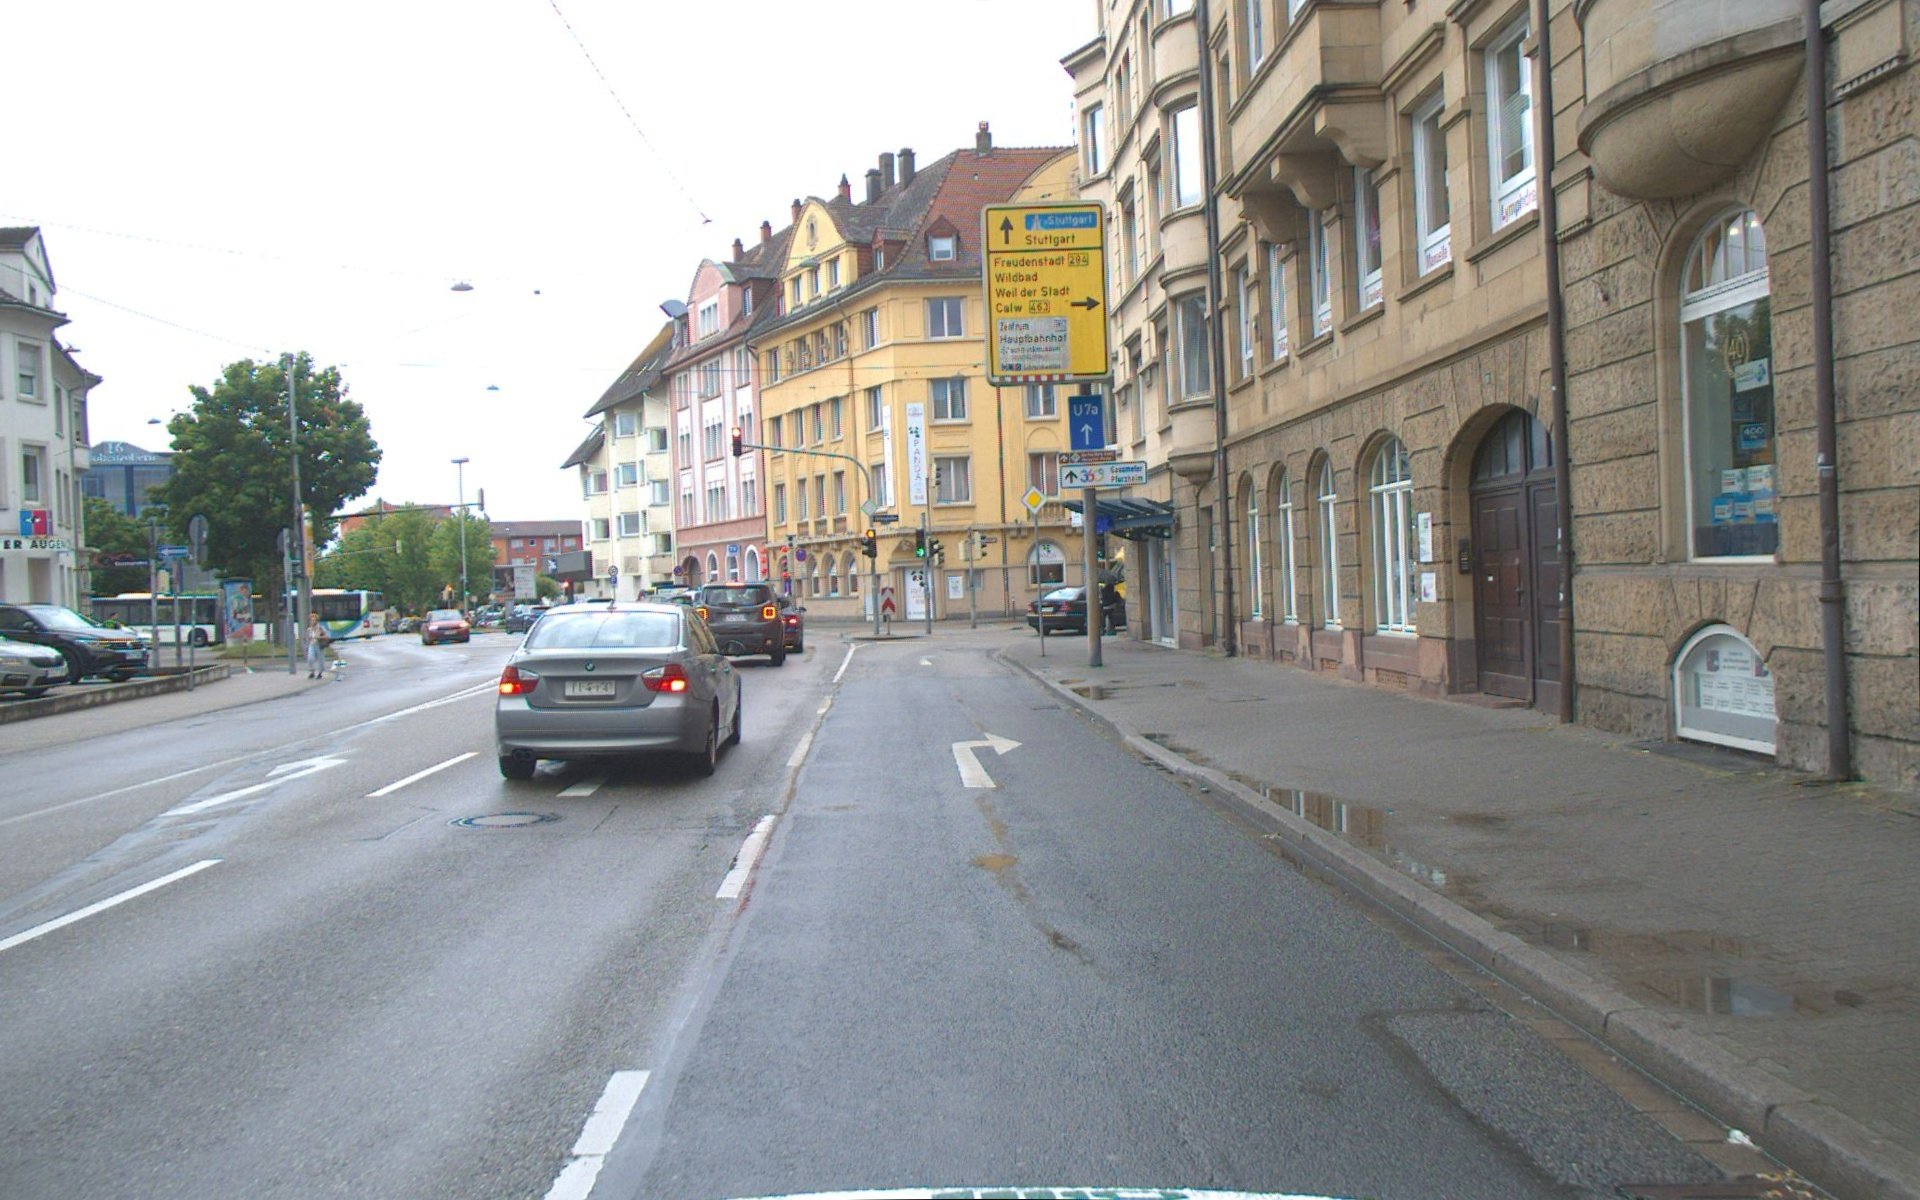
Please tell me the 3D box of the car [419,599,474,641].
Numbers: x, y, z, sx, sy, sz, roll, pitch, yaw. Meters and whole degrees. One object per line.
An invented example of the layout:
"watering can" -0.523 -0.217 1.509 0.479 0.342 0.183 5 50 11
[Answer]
"car" -22.192 0.833 71.376 1.820 1.713 3.970 -1 0 -24

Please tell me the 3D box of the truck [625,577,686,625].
"truck" -16.071 0.022 87.110 2.003 2.431 4.198 -1 1 -28

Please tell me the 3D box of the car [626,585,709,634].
"car" -11.980 0.390 67.615 1.974 1.847 3.957 -3 0 -31

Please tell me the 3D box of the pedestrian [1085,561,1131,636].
"pedestrian" 3.970 -0.052 44.288 1.035 1.937 1.026 -2 1 14

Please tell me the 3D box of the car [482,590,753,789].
"car" -2.848 0.670 14.643 1.764 1.489 4.367 0 0 -4

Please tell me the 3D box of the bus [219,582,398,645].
"bus" -36.840 0.722 93.723 8.922 3.159 2.920 -2 1 3

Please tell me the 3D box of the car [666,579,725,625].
"car" -13.178 0.080 82.186 1.742 2.218 3.963 0 0 -28

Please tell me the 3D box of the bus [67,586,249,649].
"bus" -45.353 0.961 93.709 8.665 3.159 2.917 -2 1 -2

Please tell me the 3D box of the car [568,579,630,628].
"car" -16.355 0.148 74.782 1.968 2.048 3.971 -3 1 -24

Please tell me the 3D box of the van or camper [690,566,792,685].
"van or camper" -4.357 0.463 33.429 1.819 2.184 4.137 -2 0 -6

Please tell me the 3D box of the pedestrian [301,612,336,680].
"pedestrian" -15.032 1.073 38.756 0.750 1.556 0.505 -1 0 -24

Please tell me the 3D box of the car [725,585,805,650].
"car" -4.682 0.395 40.051 1.768 1.430 4.678 -2 0 -6

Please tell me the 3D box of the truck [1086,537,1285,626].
"truck" 8.297 -0.684 61.336 6.951 2.901 2.081 -3 0 -3

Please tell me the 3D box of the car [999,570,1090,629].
"car" 2.430 -0.009 48.468 1.767 1.590 3.990 -2 0 -10

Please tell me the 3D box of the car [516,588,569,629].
"car" -22.041 0.442 87.261 1.968 2.048 3.970 -3 1 -24

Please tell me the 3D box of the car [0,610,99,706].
"car" -17.609 1.043 28.626 4.358 1.553 1.884 -2 0 -4

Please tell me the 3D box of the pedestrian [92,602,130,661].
"pedestrian" -26.067 0.948 50.758 0.951 1.738 0.926 -3 1 -28

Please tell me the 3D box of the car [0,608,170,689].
"car" -18.725 0.960 33.712 4.324 1.532 1.955 0 1 6
